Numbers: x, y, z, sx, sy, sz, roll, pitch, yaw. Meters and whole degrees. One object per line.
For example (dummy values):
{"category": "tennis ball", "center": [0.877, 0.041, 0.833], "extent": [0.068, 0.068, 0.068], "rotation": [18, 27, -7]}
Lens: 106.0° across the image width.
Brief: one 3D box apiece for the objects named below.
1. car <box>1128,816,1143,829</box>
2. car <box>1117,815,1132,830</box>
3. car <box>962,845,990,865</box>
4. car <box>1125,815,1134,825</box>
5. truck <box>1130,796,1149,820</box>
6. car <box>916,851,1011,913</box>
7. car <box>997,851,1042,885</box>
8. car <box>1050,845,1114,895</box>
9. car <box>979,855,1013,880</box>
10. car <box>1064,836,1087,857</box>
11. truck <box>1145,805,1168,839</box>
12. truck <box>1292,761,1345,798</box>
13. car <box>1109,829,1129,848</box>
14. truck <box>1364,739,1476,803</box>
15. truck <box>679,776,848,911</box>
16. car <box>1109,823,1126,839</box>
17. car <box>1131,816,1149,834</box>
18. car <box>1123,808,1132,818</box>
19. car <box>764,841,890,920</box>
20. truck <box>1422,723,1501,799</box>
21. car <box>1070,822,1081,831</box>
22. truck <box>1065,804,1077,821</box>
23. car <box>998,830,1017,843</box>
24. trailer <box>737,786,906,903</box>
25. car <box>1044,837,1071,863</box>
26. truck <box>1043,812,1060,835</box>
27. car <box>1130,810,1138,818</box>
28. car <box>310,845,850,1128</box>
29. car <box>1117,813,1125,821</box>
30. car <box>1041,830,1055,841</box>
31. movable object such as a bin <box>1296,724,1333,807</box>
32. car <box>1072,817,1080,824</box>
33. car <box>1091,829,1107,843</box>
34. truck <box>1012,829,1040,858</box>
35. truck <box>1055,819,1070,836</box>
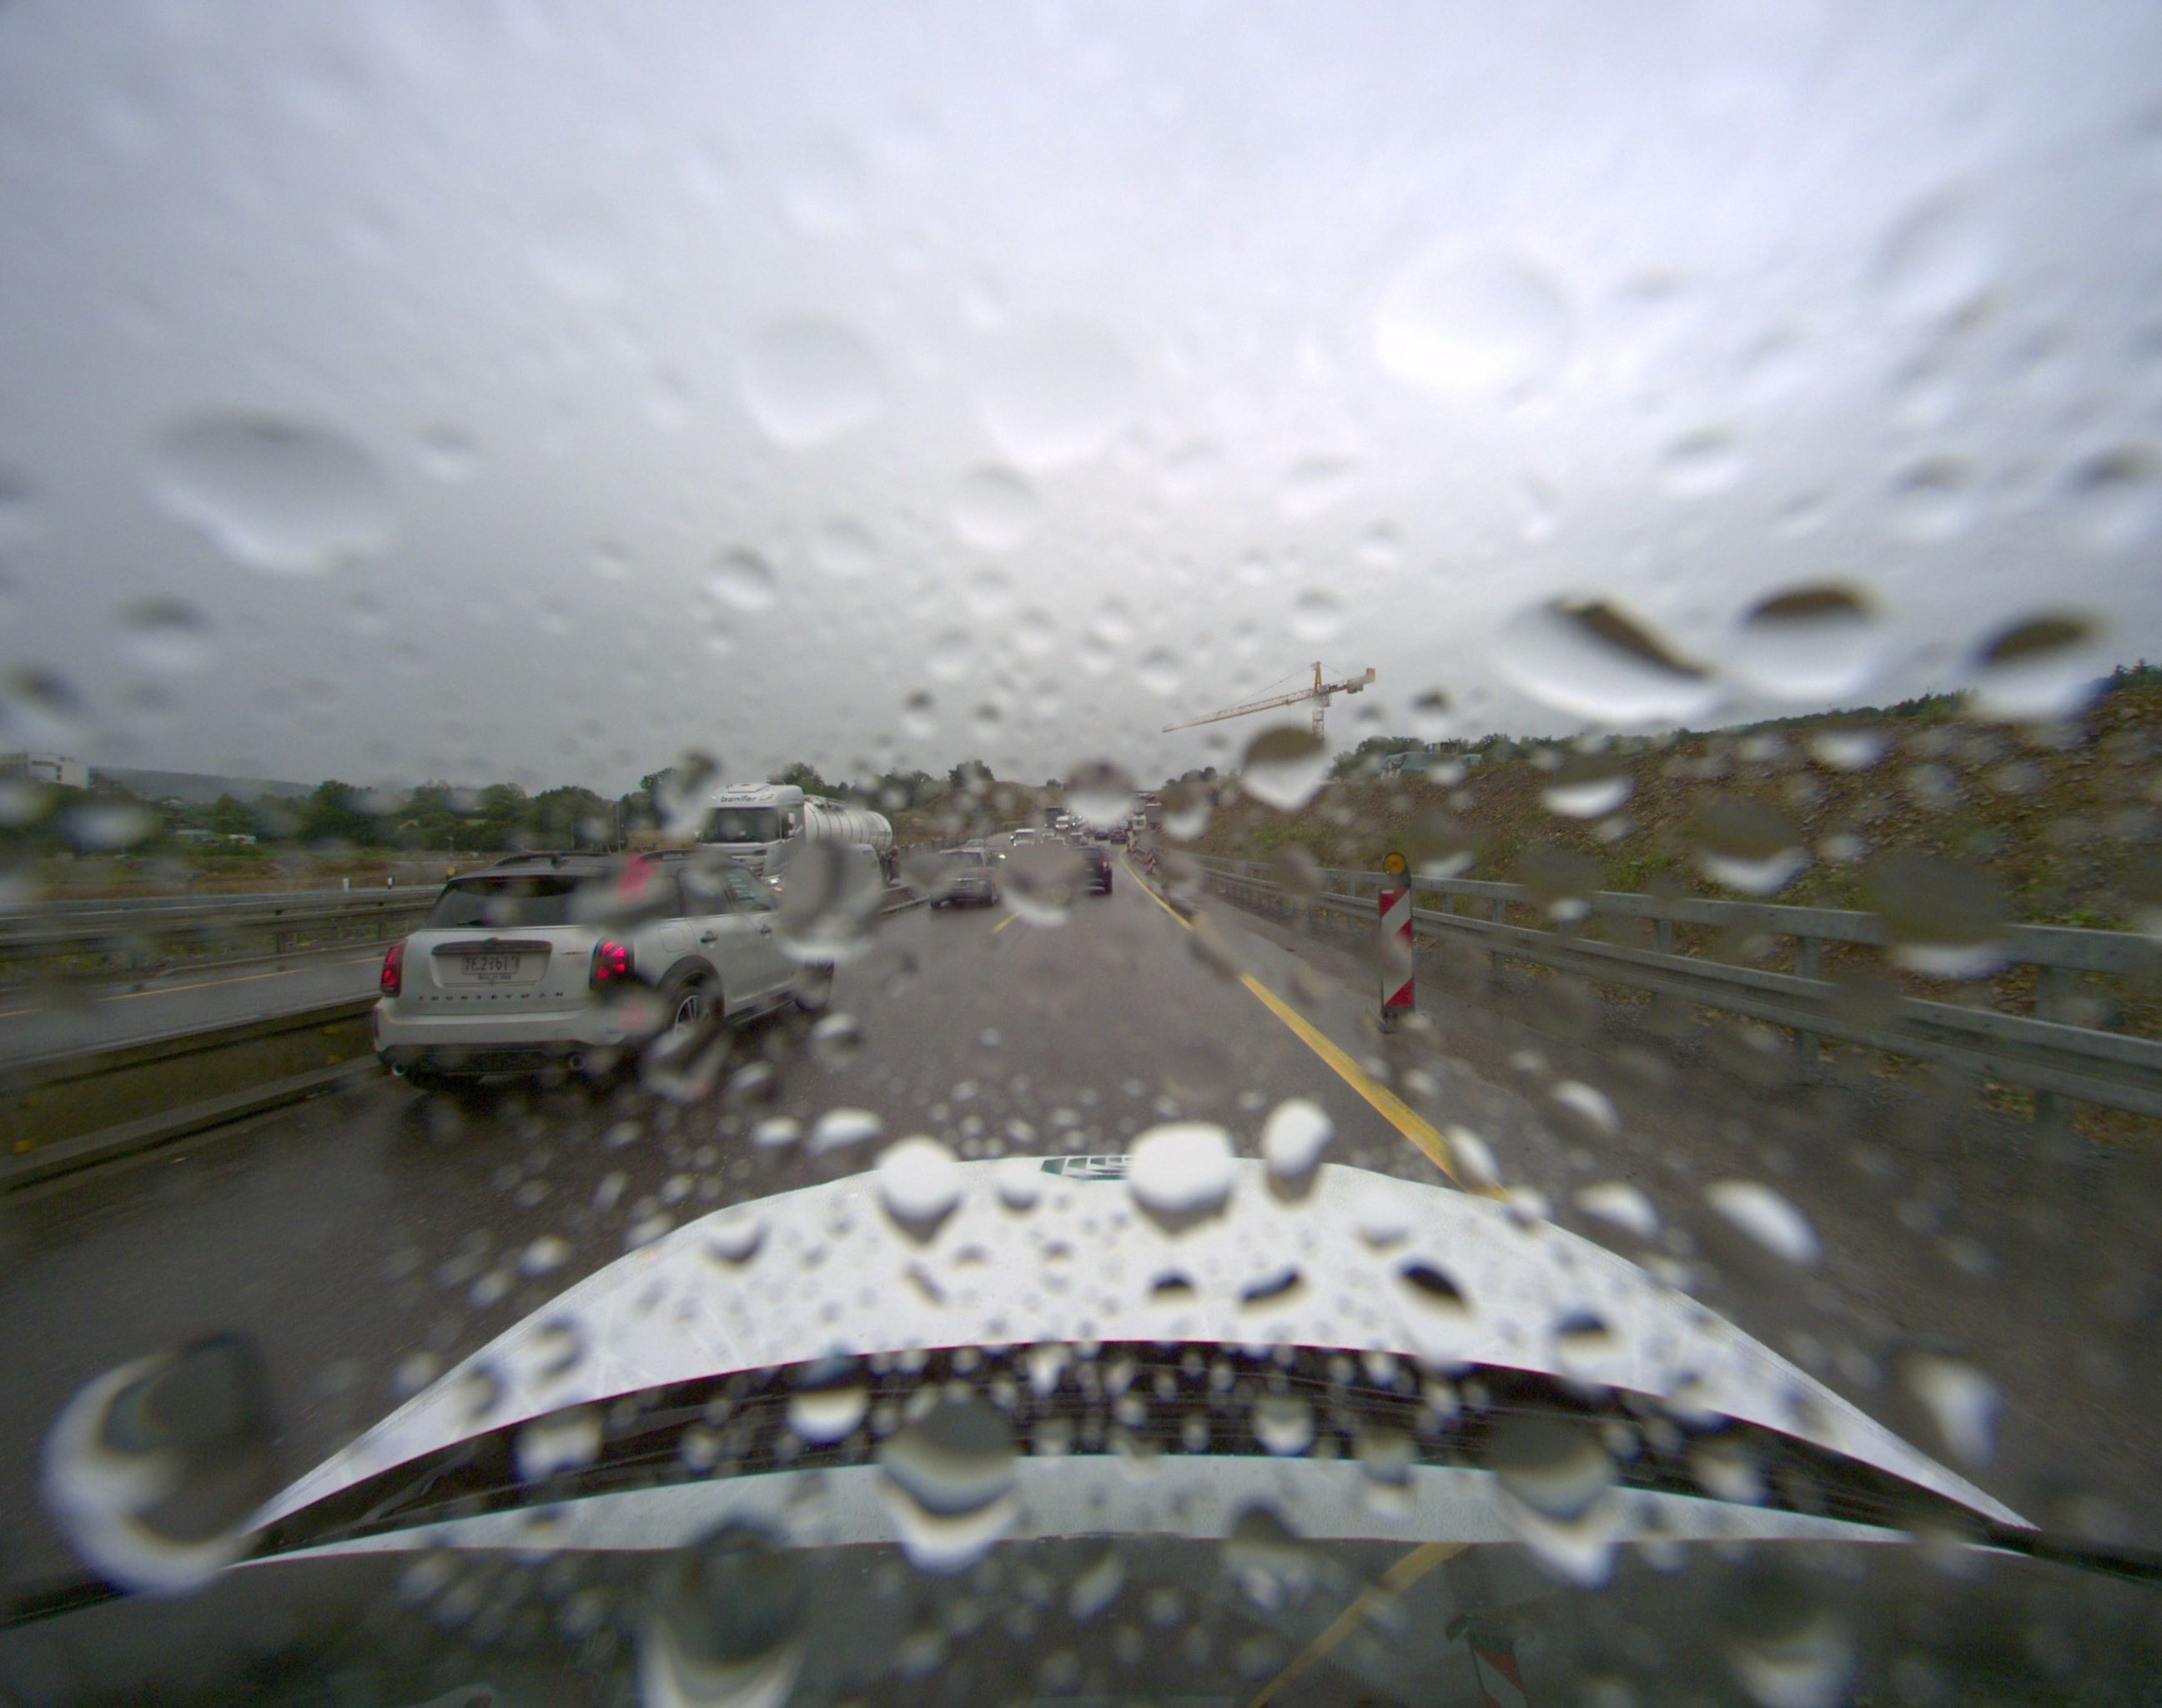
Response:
{"category": "car", "center": [9.553, -5.482, 142.265], "extent": [1.980, 2.163, 4.154], "rotation": [-1, 0, 11]}
{"category": "car", "center": [7.125, -5.123, 132.271], "extent": [1.981, 2.163, 4.152], "rotation": [-1, 0, 10]}
{"category": "car", "center": [-8.679, 0.065, 67.580], "extent": [1.781, 1.546, 4.001], "rotation": [-1, 1, 1]}
{"category": "car", "center": [10.367, -7.232, 173.649], "extent": [1.842, 1.894, 4.023], "rotation": [-1, 0, 2]}
{"category": "truck", "center": [14.221, -11.134, 198.483], "extent": [3.791, 5.042, 12.923], "rotation": [-1, 0, 1]}
{"category": "car", "center": [-3.282, 0.730, 23.658], "extent": [1.986, 1.600, 4.142], "rotation": [-1, 0, 2]}
{"category": "car", "center": [-3.076, 0.679, 41.509], "extent": [1.987, 1.600, 4.140], "rotation": [-1, 0, 0]}
{"category": "car", "center": [0.096, 0.531, 28.802], "extent": [2.073, 1.600, 4.142], "rotation": [-1, 0, 2]}
{"category": "car", "center": [-5.761, 0.890, 55.619], "extent": [1.766, 1.504, 4.680], "rotation": [-2, 1, 1]}
{"category": "car", "center": [-0.582, -0.795, 88.716], "extent": [1.984, 2.163, 4.147], "rotation": [-1, 0, 5]}
{"category": "truck", "center": [12.736, -5.326, 137.357], "extent": [3.083, 5.426, 9.467], "rotation": [-1, 0, 9]}
{"category": "truck", "center": [20.650, -6.424, 71.209], "extent": [2.636, 2.554, 6.985], "rotation": [-1, 0, 1]}
{"category": "car", "center": [4.514, -1.834, 96.912], "extent": [1.983, 2.163, 4.149], "rotation": [-1, 0, 7]}
{"category": "truck", "center": [20.001, -4.778, 48.801], "extent": [3.381, 2.875, 8.967], "rotation": [-1, 0, 3]}
{"category": "truck", "center": [-9.699, -0.298, 25.758], "extent": [2.611, 3.677, 6.596], "rotation": [-1, 0, 1]}
{"category": "car", "center": [5.401, -3.386, 120.083], "extent": [1.981, 2.163, 4.153], "rotation": [-1, 0, 10]}
{"category": "car", "center": [8.585, -4.182, 118.373], "extent": [1.981, 2.484, 4.997], "rotation": [-1, 0, 11]}
{"category": "car", "center": [10.749, -9.519, 189.071], "extent": [1.986, 2.013, 4.002], "rotation": [-2, 2, 1]}
{"category": "car", "center": [-6.399, 0.617, 21.021], "extent": [1.859, 1.800, 4.163], "rotation": [-1, 0, 1]}
{"category": "truck", "center": [24.641, -5.934, 53.031], "extent": [2.365, 4.218, 5.980], "rotation": [-1, 0, 1]}
{"category": "car", "center": [-0.950, -5.110, 150.426], "extent": [1.862, 1.471, 4.671], "rotation": [-1, 2, 0]}
{"category": "truck", "center": [-2.945, -12.340, 242.025], "extent": [3.071, 4.918, 8.570], "rotation": [-1, 2, 2]}
{"category": "car", "center": [-9.287, -2.250, 103.054], "extent": [1.780, 1.538, 4.313], "rotation": [-2, 1, 1]}
{"category": "trailer", "center": [-9.616, -0.336, 32.142], "extent": [2.611, 3.677, 12.005], "rotation": [-1, 0, 1]}
{"category": "car", "center": [-1.904, -0.330, 66.125], "extent": [1.987, 2.013, 3.894], "rotation": [-1, 0, 1]}
{"category": "truck", "center": [-5.247, -5.576, 147.467], "extent": [2.633, 3.969, 9.215], "rotation": [-1, 2, 0]}
{"category": "car", "center": [15.236, -11.402, 233.042], "extent": [1.987, 2.013, 4.000], "rotation": [-1, 0, 1]}
{"category": "car", "center": [-3.503, 0.741, 6.863], "extent": [1.810, 1.600, 4.308], "rotation": [-1, 1, 1]}
{"category": "car", "center": [10.467, -9.746, 212.573], "extent": [1.986, 2.013, 4.002], "rotation": [-2, 2, 1]}
{"category": "car", "center": [-4.492, -2.520, 110.807], "extent": [1.671, 1.523, 4.346], "rotation": [-2, 1, 1]}
{"category": "movable object such as a bin", "center": [33.896, -12.614, 118.330], "extent": [4.683, 10.841, 10.347], "rotation": [-1, 0, 16]}
{"category": "car", "center": [-1.094, -7.487, 182.664], "extent": [1.731, 1.684, 5.555], "rotation": [-1, 2, 1]}
{"category": "car", "center": [2.390, -2.360, 107.872], "extent": [1.986, 1.761, 3.817], "rotation": [-1, 0, 2]}
{"category": "truck", "center": [-5.089, -0.931, 75.767], "extent": [2.071, 2.576, 5.963], "rotation": [-1, 0, 1]}
{"category": "truck", "center": [-2.995, -4.337, 133.671], "extent": [2.140, 2.713, 6.017], "rotation": [-1, 2, 1]}
